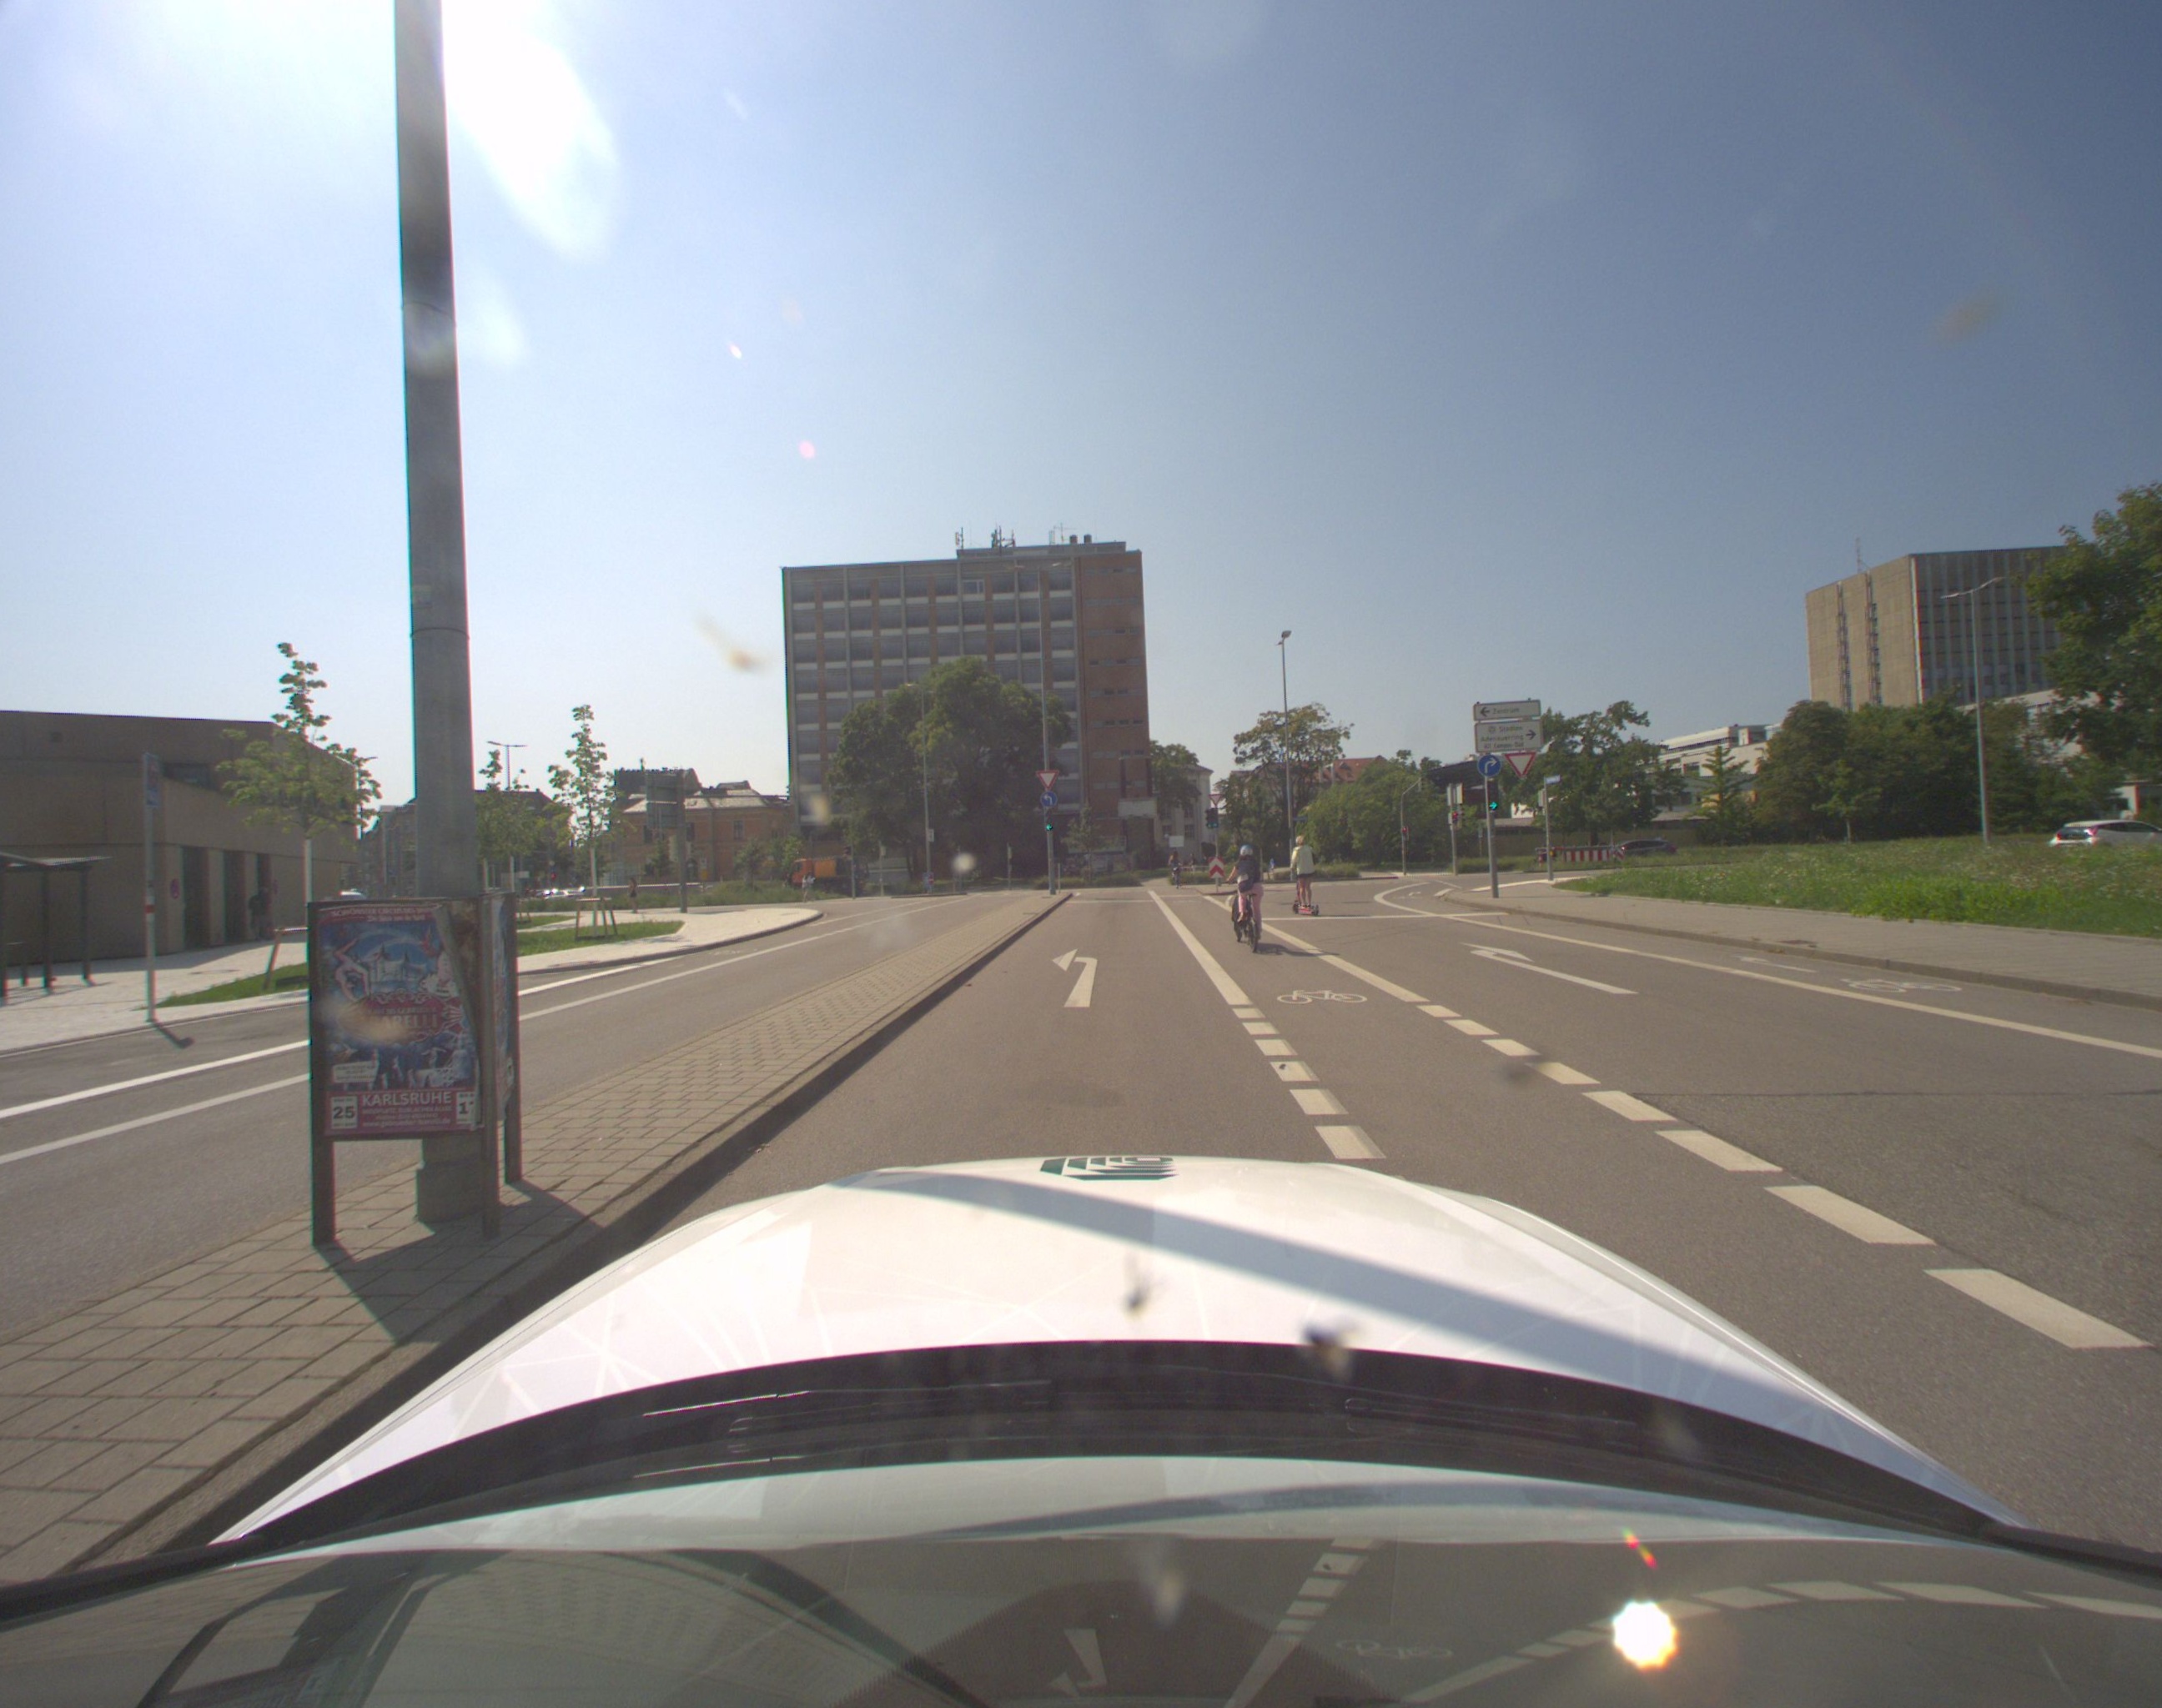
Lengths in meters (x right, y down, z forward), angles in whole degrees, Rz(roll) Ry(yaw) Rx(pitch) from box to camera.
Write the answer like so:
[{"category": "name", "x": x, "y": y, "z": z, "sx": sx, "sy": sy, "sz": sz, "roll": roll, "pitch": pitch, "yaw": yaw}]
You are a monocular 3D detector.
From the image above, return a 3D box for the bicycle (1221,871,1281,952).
[{"category": "bicycle", "x": 2.716, "y": 0.883, "z": 13.145, "sx": 0.601, "sy": 1.163, "sz": 1.811, "roll": -3, "pitch": 0, "yaw": 2}]

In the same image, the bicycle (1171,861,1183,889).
[{"category": "bicycle", "x": 4.162, "y": 0.897, "z": 35.311, "sx": 0.442, "sy": 1.116, "sz": 1.449, "roll": -3, "pitch": 0, "yaw": 7}]

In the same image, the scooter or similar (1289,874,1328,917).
[{"category": "scooter or similar", "x": 5.453, "y": 0.989, "z": 19.572, "sx": 0.767, "sy": 0.926, "sz": 1.625, "roll": -2, "pitch": 0, "yaw": 12}]

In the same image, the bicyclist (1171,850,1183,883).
[{"category": "bicyclist", "x": 4.167, "y": 0.537, "z": 35.520, "sx": 0.447, "sy": 1.421, "sz": 0.496, "roll": -3, "pitch": -1, "yaw": 5}]

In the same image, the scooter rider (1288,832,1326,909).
[{"category": "scooter rider", "x": 5.403, "y": 0.390, "z": 19.503, "sx": 0.757, "sy": 1.775, "sz": 0.557, "roll": -3, "pitch": -1, "yaw": 11}]

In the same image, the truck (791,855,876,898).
[{"category": "truck", "x": -18.696, "y": 1.725, "z": 61.479, "sx": 5.890, "sy": 2.990, "sz": 2.722, "roll": -3, "pitch": -1, "yaw": 28}]

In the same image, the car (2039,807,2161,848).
[{"category": "car", "x": 40.472, "y": -1.046, "z": 31.659, "sx": 3.966, "sy": 1.391, "sz": 1.852, "roll": -3, "pitch": -1, "yaw": 6}]

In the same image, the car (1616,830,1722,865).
[{"category": "car", "x": 29.911, "y": -0.308, "z": 41.531, "sx": 3.968, "sy": 1.565, "sz": 1.826, "roll": -3, "pitch": 0, "yaw": 5}]

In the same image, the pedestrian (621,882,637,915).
[{"category": "pedestrian", "x": -21.891, "y": 2.156, "z": 39.421, "sx": 0.534, "sy": 1.552, "sz": 0.411, "roll": -2, "pitch": -1, "yaw": -43}]

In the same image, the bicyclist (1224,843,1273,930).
[{"category": "bicyclist", "x": 2.665, "y": 0.504, "z": 13.008, "sx": 0.600, "sy": 1.335, "sz": 0.660, "roll": -3, "pitch": -1, "yaw": 2}]
